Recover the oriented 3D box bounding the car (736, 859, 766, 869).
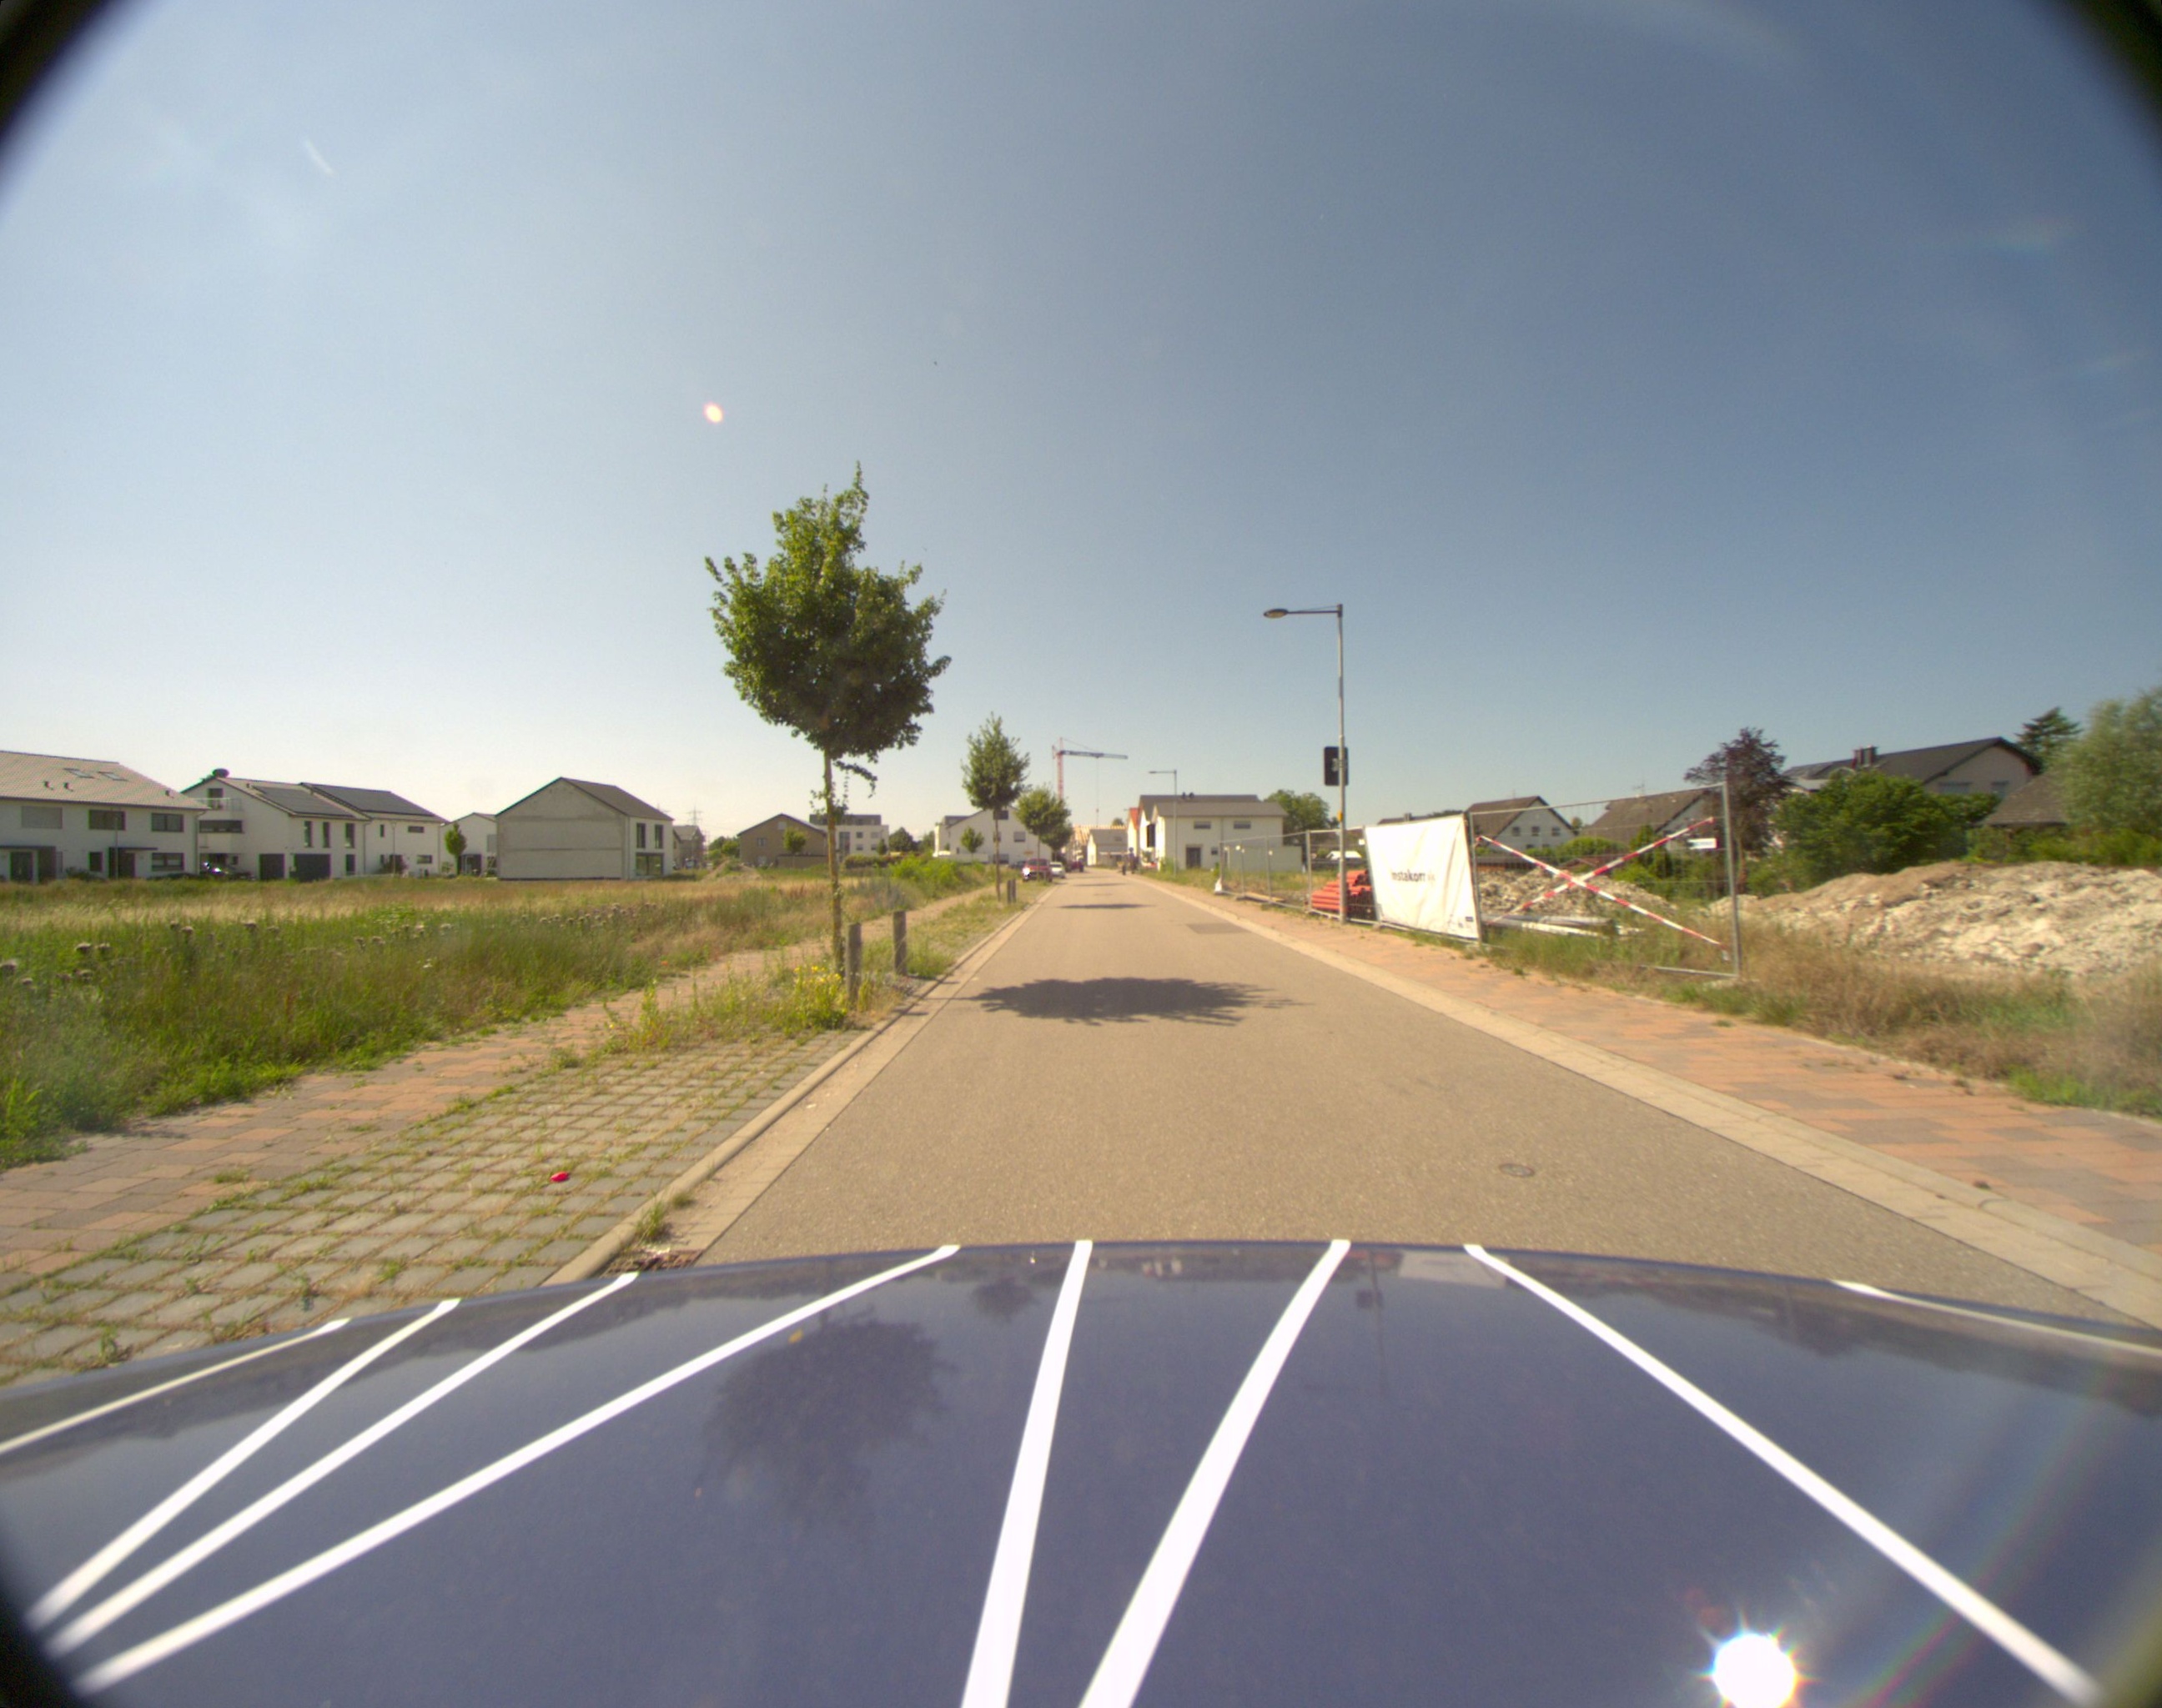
[{"bbox_3d":[-51.401,1.530,118.328,4.000,1.444,1.633,-1,0,-8],"label":"car"}]

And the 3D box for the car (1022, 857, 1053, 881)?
[{"bbox_3d":[-2.775,0.918,49.356,1.769,1.483,4.000,-1,0,0],"label":"car"}]

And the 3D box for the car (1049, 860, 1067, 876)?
[{"bbox_3d":[-2.052,1.260,68.873,1.493,1.389,3.272,-1,0,0],"label":"car"}]
